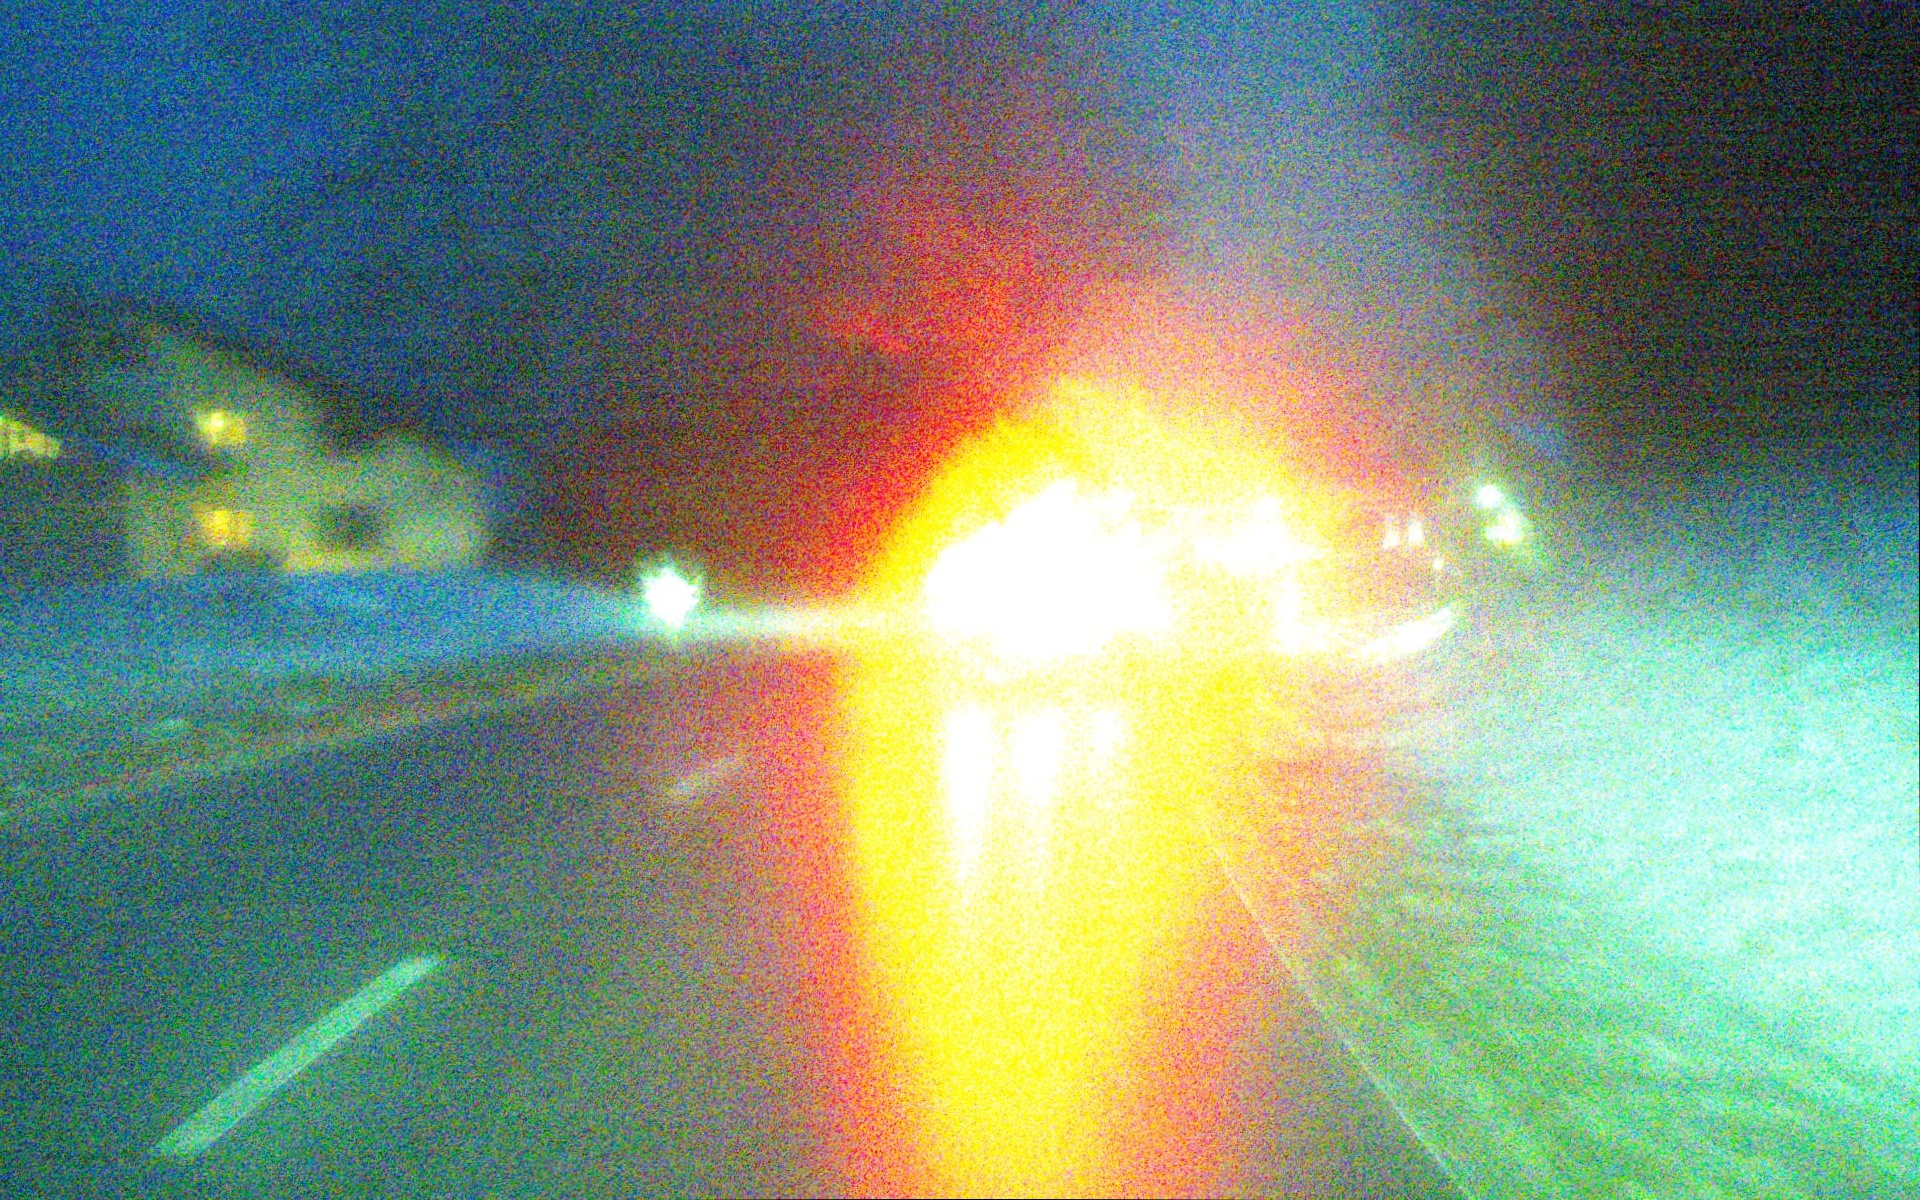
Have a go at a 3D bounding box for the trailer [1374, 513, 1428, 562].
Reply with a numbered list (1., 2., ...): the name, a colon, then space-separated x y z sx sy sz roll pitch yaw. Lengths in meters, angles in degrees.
1. trailer: 21.691 -3.054 169.352 1.630 2.356 4.654 1 1 -5

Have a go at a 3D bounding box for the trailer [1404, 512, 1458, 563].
1. trailer: 22.487 -2.977 164.320 1.605 2.344 4.432 1 1 -5

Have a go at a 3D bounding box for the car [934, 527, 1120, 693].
1. car: 0.751 0.063 35.932 1.801 1.623 3.615 -1 1 3
